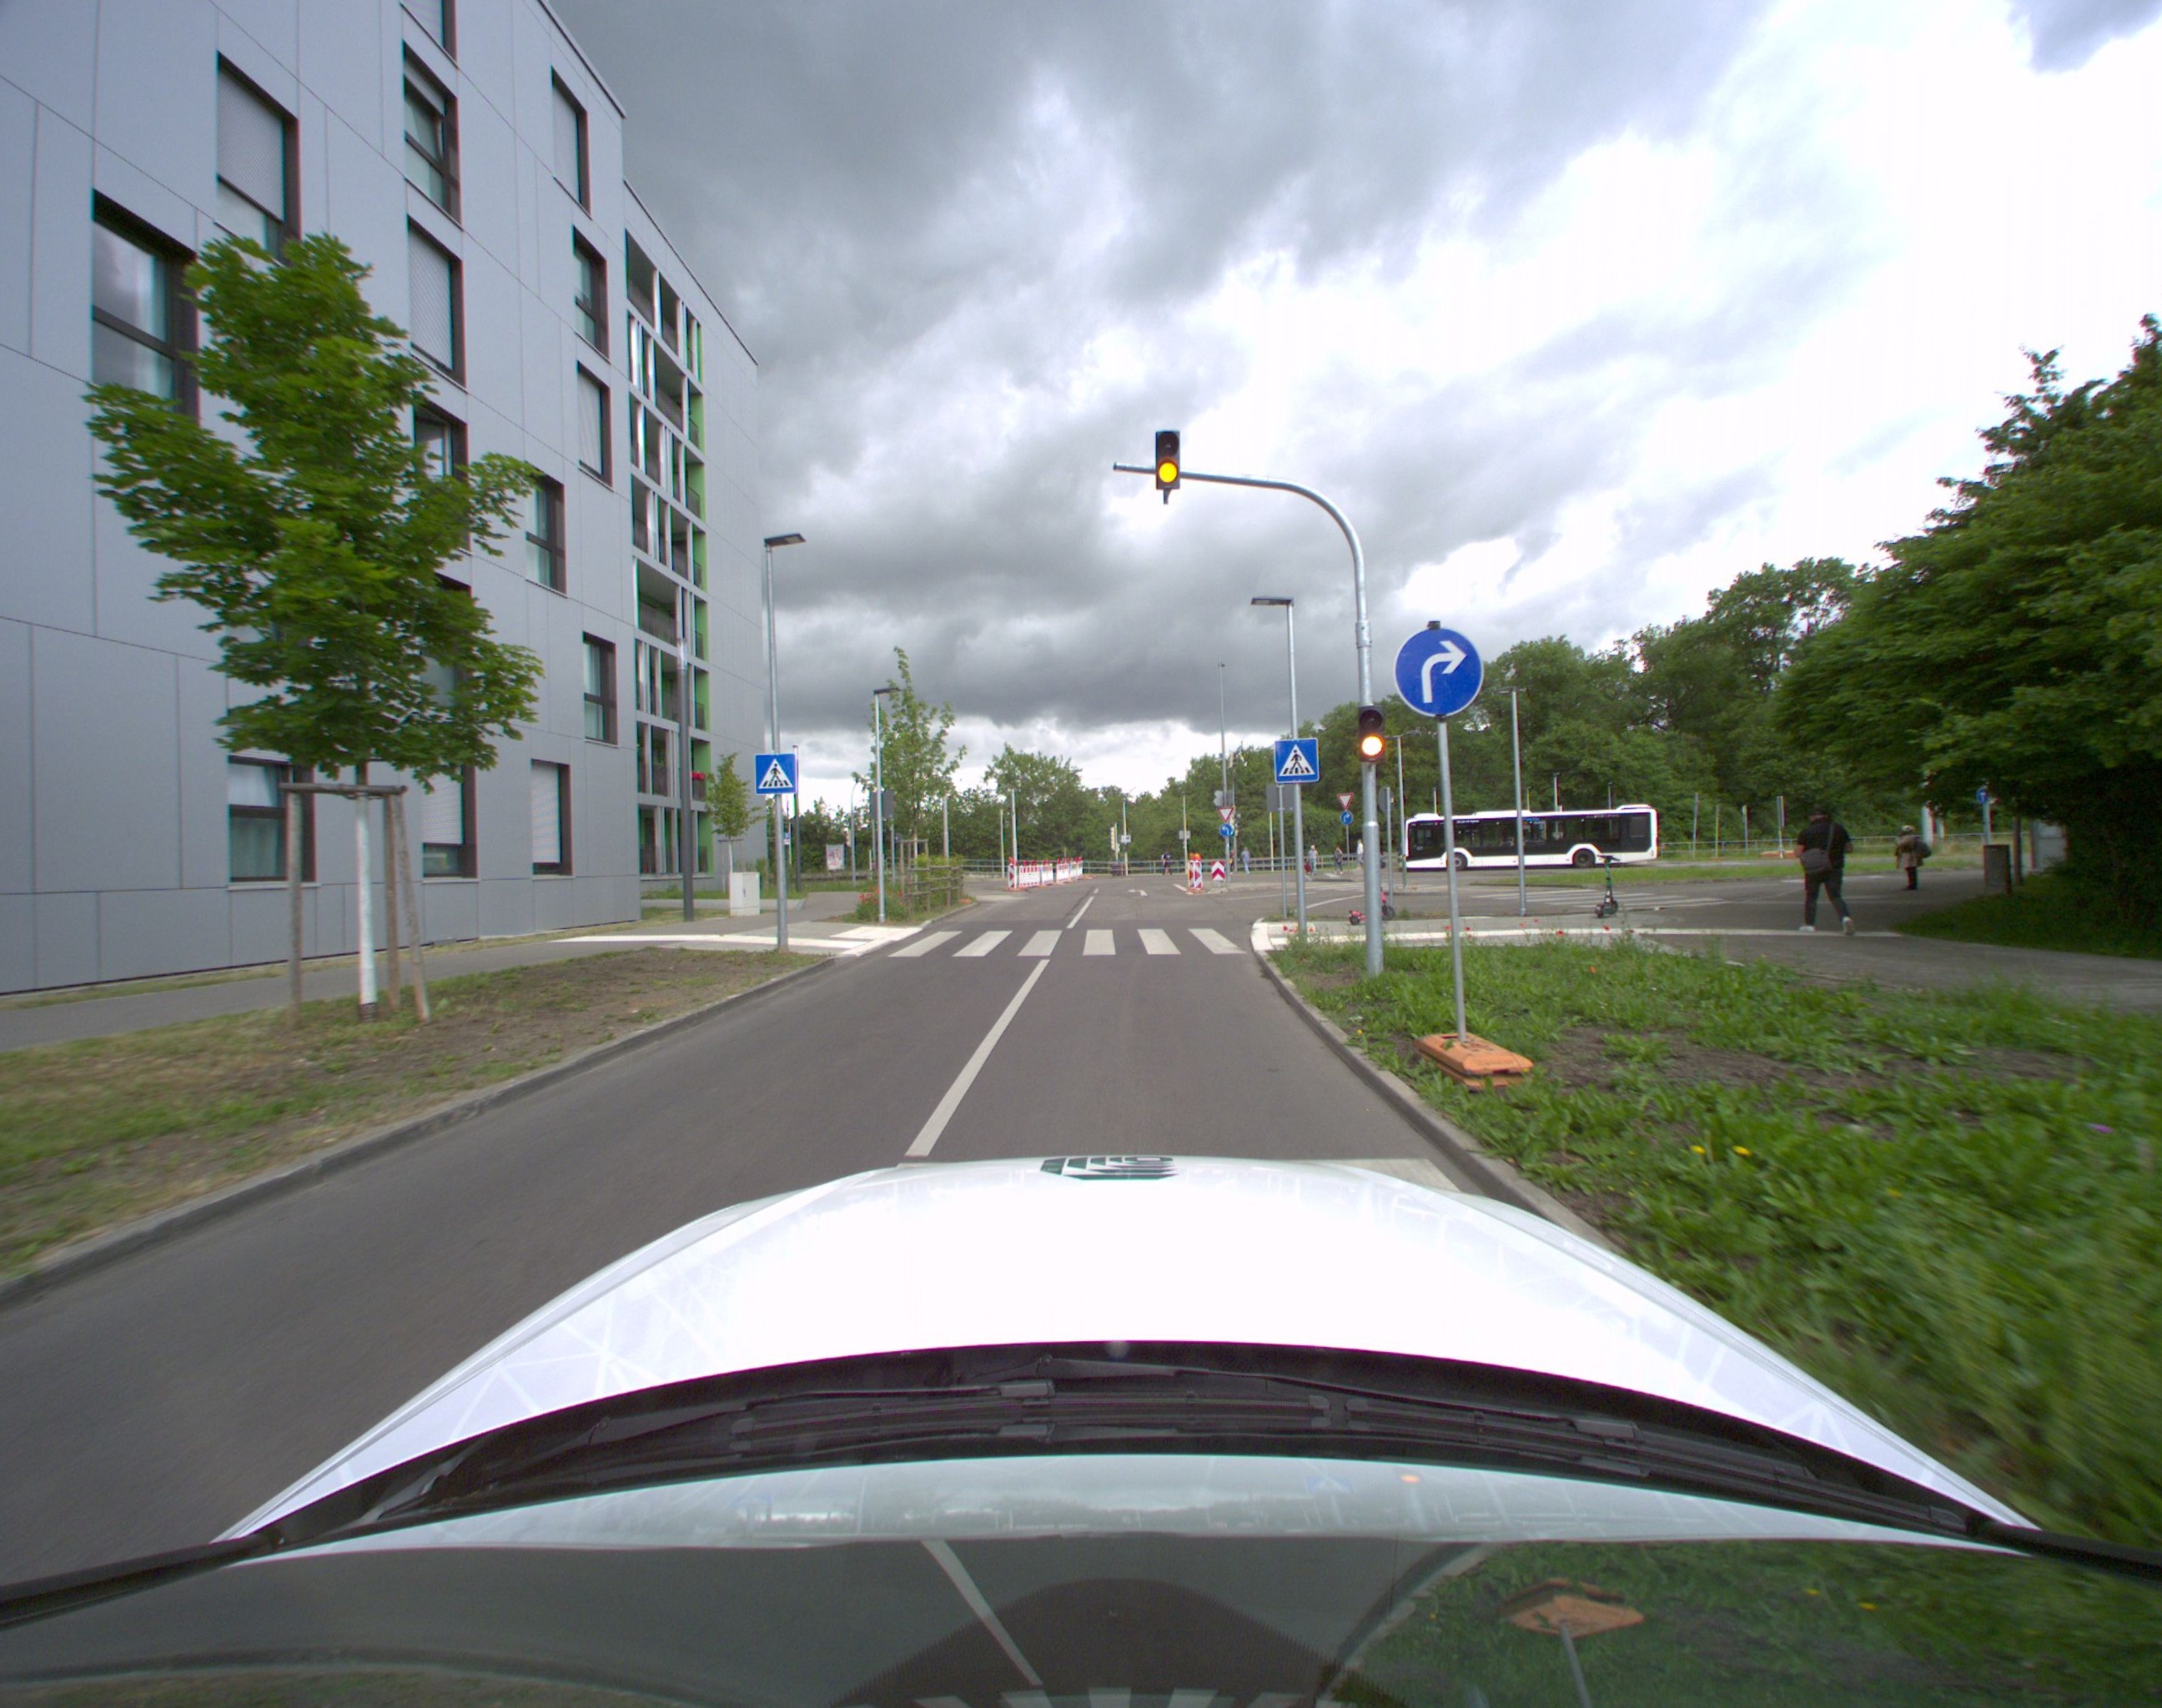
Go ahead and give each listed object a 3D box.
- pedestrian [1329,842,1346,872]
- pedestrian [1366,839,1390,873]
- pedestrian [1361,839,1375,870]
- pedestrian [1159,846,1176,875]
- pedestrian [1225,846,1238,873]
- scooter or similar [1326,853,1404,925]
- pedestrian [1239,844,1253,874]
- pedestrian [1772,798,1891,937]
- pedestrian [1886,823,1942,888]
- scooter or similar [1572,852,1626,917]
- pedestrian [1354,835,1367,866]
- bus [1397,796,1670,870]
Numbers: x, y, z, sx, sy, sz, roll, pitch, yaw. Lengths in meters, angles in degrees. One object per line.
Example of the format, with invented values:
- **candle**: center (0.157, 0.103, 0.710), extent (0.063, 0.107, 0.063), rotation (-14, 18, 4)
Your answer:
- **pedestrian**: center (13.989, 0.161, 44.452), extent (0.683, 1.567, 0.737), rotation (-2, 0, 32)
- **pedestrian**: center (15.585, 0.127, 42.702), extent (0.945, 1.747, 1.069), rotation (-1, 0, 32)
- **pedestrian**: center (16.483, 0.005, 46.813), extent (0.714, 1.747, 0.962), rotation (-1, 0, 19)
- **pedestrian**: center (5.375, 0.380, 50.582), extent (0.951, 1.747, 0.723), rotation (-1, 0, 1)
- **pedestrian**: center (9.144, 0.342, 49.516), extent (0.715, 1.621, 0.808), rotation (-1, 0, 13)
- **scooter or similar**: center (5.529, 0.649, 15.837), extent (1.530, 1.313, 0.567), rotation (-1, 0, -31)
- **pedestrian**: center (9.646, 0.290, 47.491), extent (0.715, 1.747, 0.961), rotation (-1, 0, 13)
- **pedestrian**: center (10.356, 0.168, 11.253), extent (0.986, 1.822, 0.850), rotation (-1, -1, -24)
- **pedestrian**: center (20.897, 0.038, 20.444), extent (0.771, 1.594, 0.682), rotation (-1, -1, -19)
- **scooter or similar**: center (10.725, 0.616, 16.830), extent (0.614, 1.275, 1.504), rotation (-2, -2, 45)
- **pedestrian**: center (16.507, -0.202, 48.074), extent (0.714, 1.747, 0.962), rotation (-1, 0, 19)
- **bus**: center (23.094, -0.993, 42.365), extent (12.072, 3.203, 2.685), rotation (-2, 0, 14)
